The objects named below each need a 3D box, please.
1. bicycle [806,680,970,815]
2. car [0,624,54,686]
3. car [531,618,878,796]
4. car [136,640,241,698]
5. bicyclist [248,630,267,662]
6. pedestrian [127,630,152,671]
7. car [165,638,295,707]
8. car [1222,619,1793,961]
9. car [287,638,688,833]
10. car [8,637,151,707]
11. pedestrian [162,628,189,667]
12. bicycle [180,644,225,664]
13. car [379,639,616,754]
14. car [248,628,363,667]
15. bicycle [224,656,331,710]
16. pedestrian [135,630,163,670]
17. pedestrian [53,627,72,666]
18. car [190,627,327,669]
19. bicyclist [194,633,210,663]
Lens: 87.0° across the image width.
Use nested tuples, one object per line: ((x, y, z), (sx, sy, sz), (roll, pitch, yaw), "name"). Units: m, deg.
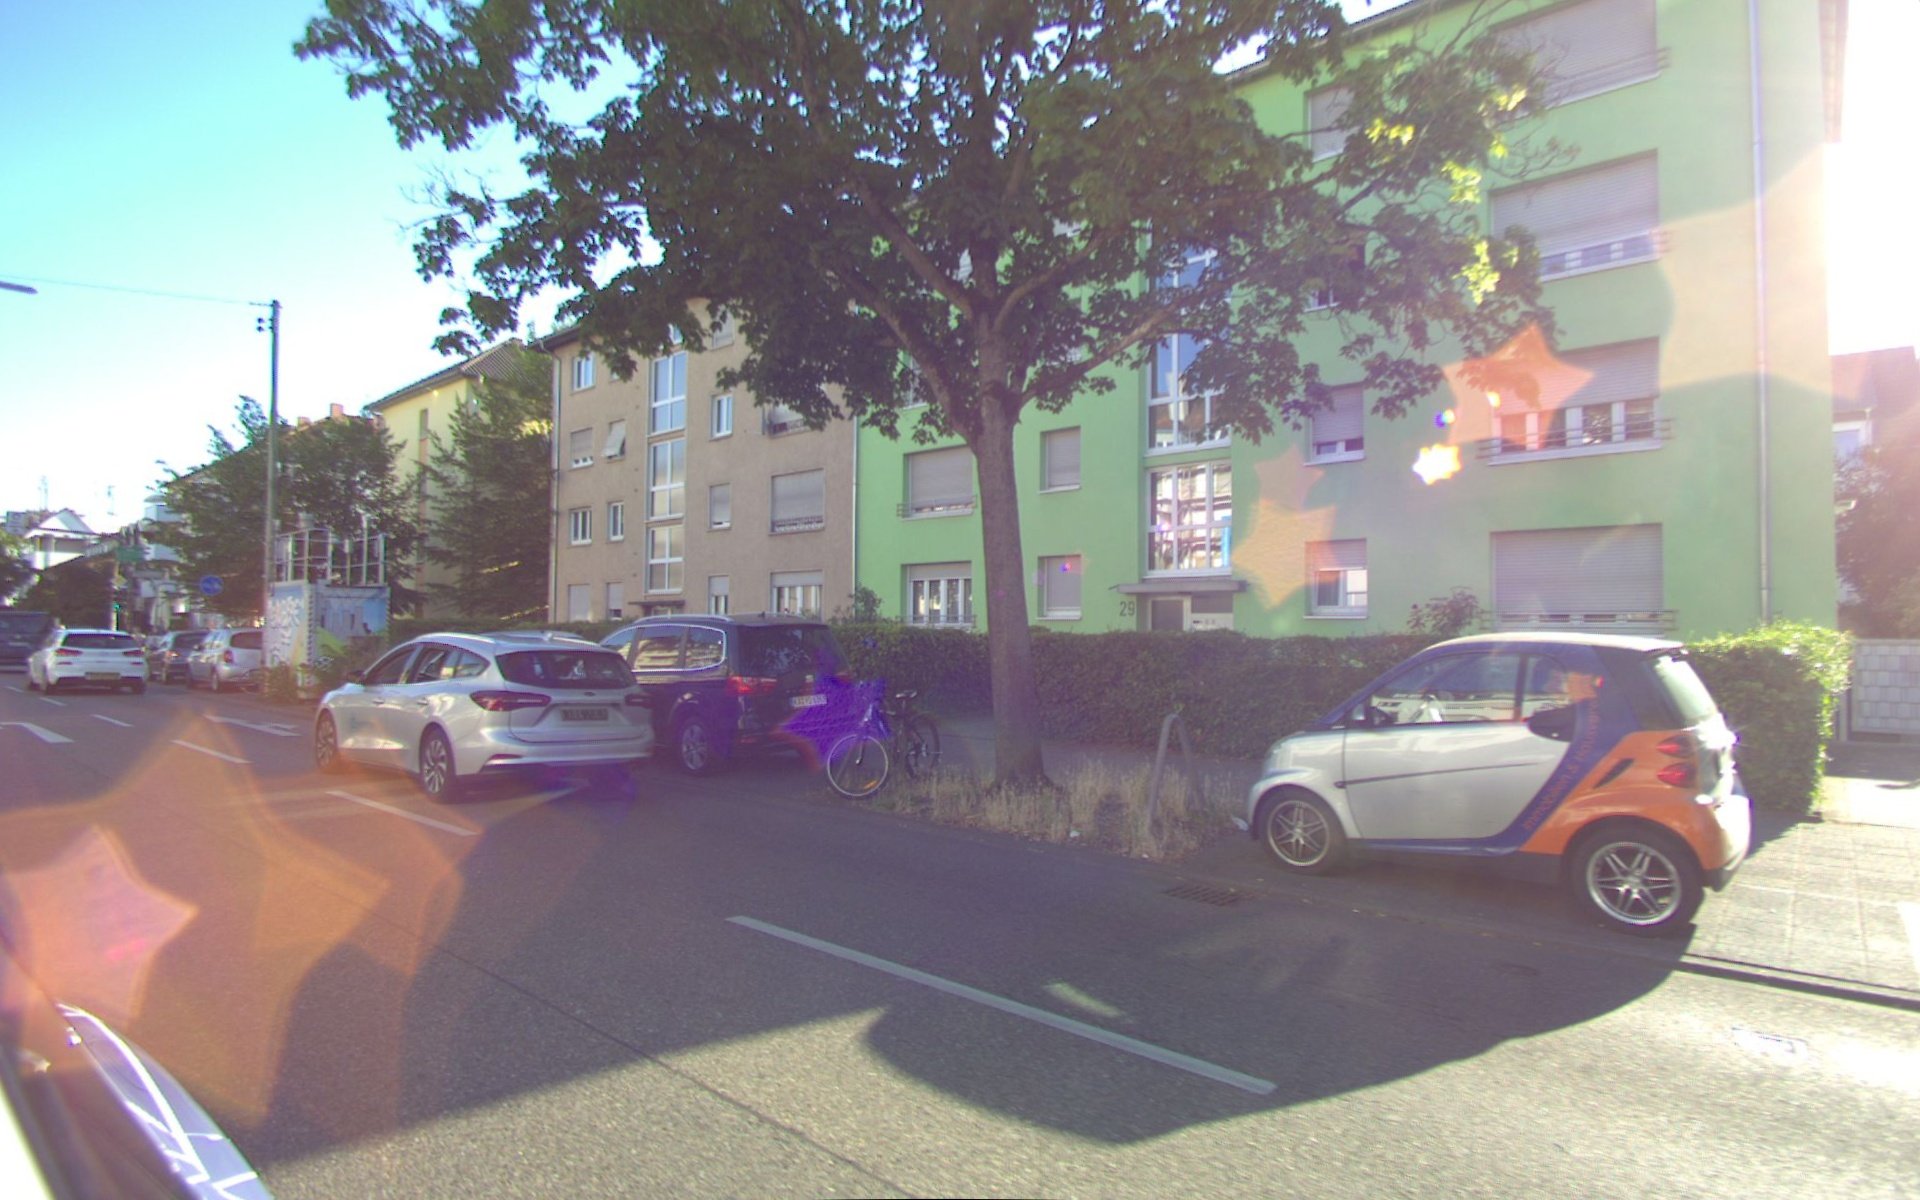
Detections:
((-0.666, 1.376, 9.838), (0.560, 1.097, 1.657), (-2, -2, 42), "bicycle")
((-31.738, 1.793, 33.469), (4.775, 1.961, 1.973), (-2, -5, 41), "car")
((-3.221, 1.135, 12.174), (4.615, 1.746, 1.765), (-2, -3, 42), "car")
((-21.725, 1.889, 28.457), (3.942, 1.490, 1.635), (-2, -3, 42), "car")
((-37.725, 2.467, 54.324), (0.748, 1.734, 0.601), (-3, -4, 35), "bicyclist")
((-33.927, 2.078, 41.841), (0.749, 1.606, 0.601), (-1, 1, 38), "pedestrian")
((-18.036, 1.737, 24.962), (3.781, 1.564, 1.621), (-2, -3, 38), "car")
((3.313, 0.956, 6.382), (2.862, 1.629, 1.482), (-2, -3, 44), "car")
((-4.774, 1.162, 9.930), (4.448, 1.482, 1.813), (-2, -6, 40), "car")
((-20.457, 1.641, 23.471), (4.107, 1.458, 1.797), (-2, -5, 40), "car")
((-33.759, 2.036, 43.559), (0.598, 1.642, 0.752), (-2, 1, -12), "pedestrian")
((-41.816, 2.960, 55.873), (1.967, 1.097, 0.729), (2, -4, -39), "bicycle")
((-7.223, 1.378, 15.623), (4.187, 1.533, 1.665), (-2, -3, 40), "car")
((-32.613, 2.362, 50.515), (1.907, 1.862, 4.426), (-2, -3, 40), "car")
((-15.816, 1.899, 23.499), (0.583, 1.097, 1.984), (-2, -1, 42), "bicycle")
((-34.757, 2.143, 43.389), (0.607, 1.670, 0.741), (-1, -3, 34), "pedestrian")
((-47.175, 2.424, 53.196), (0.814, 2.029, 0.637), (0, -1, 42), "pedestrian")
((-30.206, 2.020, 43.717), (1.841, 1.626, 4.546), (-2, -1, 38), "car")
((-41.840, 2.659, 55.866), (0.662, 1.666, 0.751), (2, -4, -39), "bicyclist")
